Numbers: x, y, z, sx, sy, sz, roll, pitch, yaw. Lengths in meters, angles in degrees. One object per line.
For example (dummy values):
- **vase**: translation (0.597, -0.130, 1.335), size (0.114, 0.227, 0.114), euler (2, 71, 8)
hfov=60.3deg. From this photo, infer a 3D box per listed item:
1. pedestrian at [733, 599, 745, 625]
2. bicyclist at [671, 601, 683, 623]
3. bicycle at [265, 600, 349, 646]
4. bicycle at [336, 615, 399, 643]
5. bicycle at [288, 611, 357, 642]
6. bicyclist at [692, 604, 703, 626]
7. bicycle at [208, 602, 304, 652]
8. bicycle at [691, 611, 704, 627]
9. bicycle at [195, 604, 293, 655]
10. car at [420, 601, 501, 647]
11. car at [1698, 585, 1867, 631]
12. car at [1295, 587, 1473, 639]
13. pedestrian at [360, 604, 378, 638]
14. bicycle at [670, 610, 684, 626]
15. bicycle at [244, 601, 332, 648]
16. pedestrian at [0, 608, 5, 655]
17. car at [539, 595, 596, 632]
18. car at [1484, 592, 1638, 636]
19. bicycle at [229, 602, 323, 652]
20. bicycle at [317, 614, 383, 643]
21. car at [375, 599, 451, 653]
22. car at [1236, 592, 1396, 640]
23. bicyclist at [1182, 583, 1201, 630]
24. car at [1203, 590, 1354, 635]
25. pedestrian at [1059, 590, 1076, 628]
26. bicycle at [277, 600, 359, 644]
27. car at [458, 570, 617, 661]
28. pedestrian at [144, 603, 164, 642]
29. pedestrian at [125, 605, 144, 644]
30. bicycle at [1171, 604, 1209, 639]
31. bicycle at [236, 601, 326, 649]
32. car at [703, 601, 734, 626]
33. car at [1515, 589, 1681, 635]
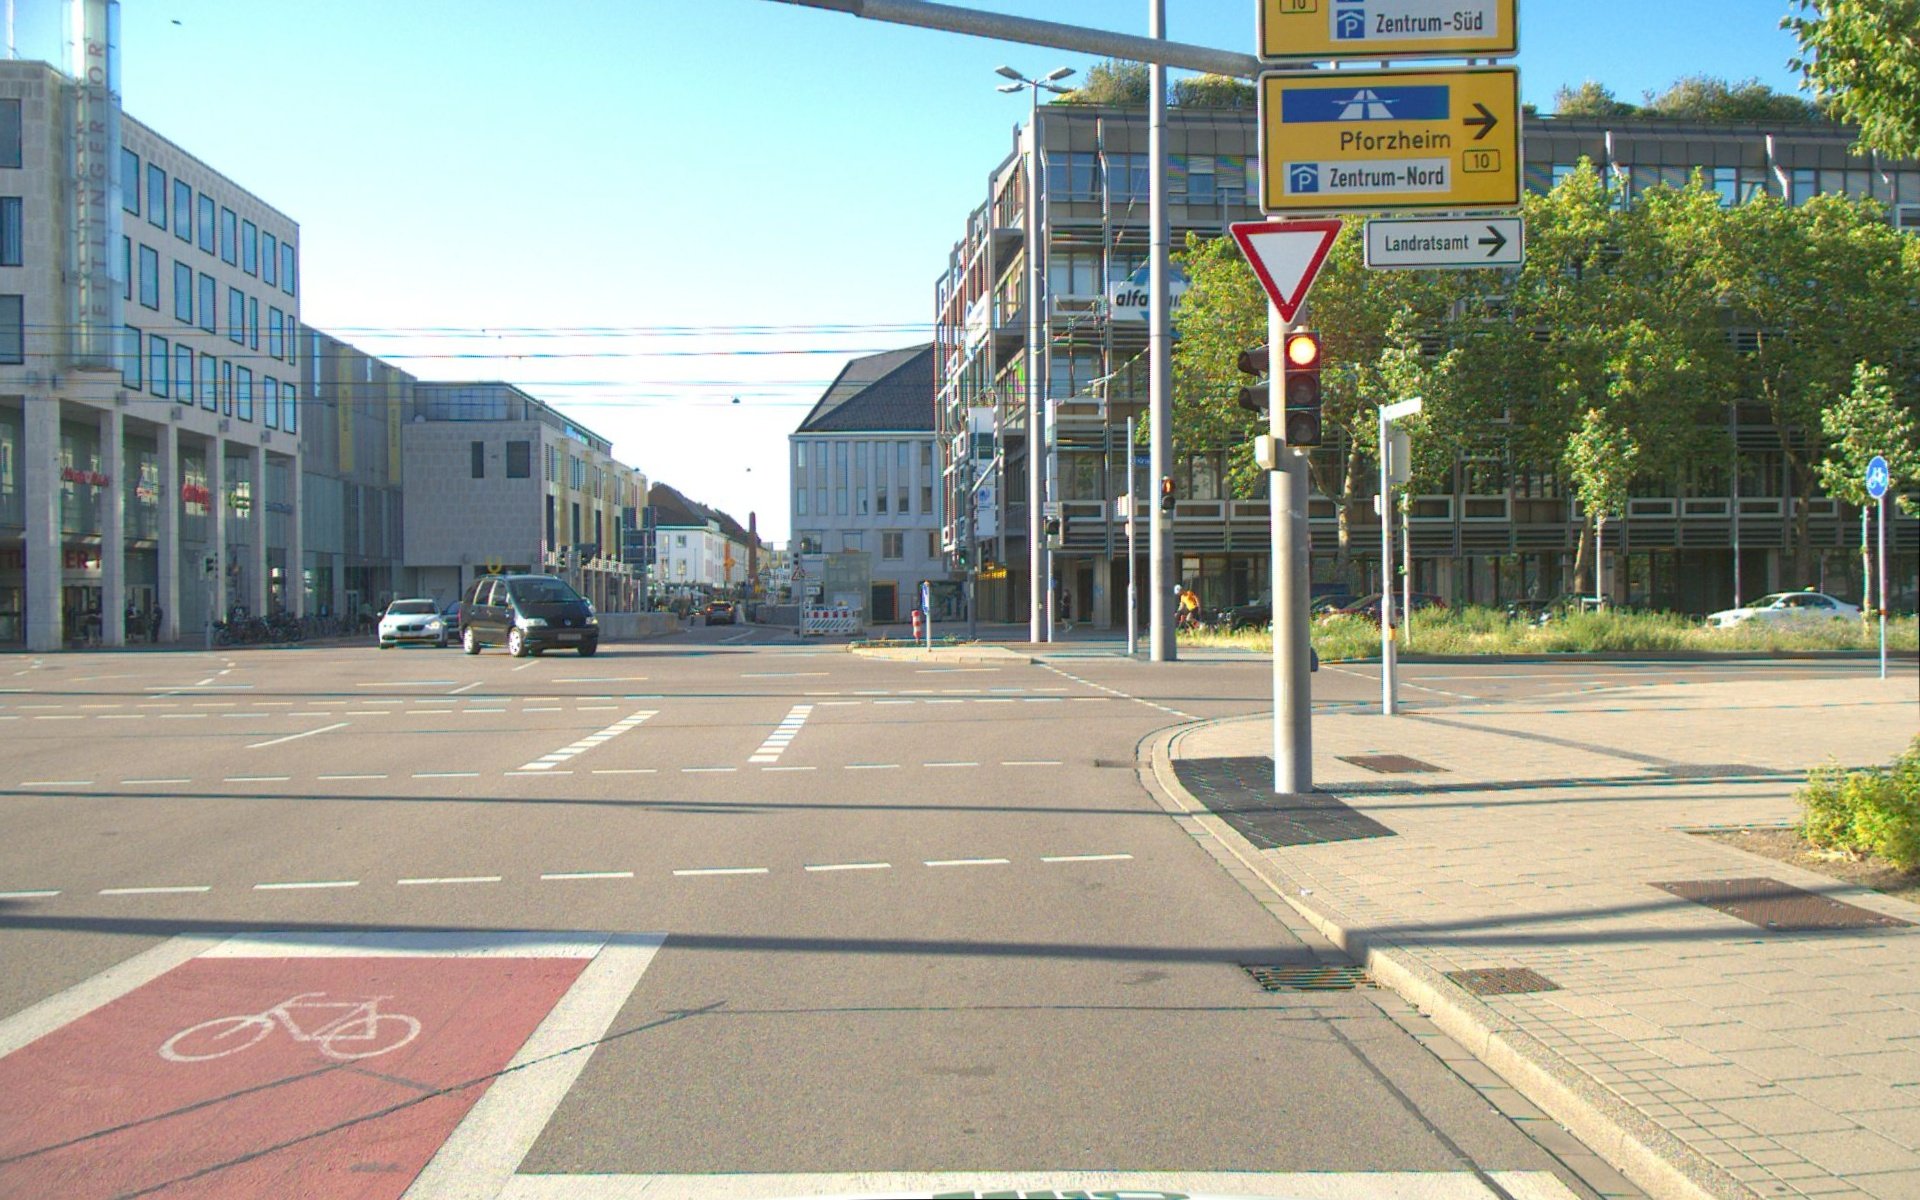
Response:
- **pedestrian**: translation (-14.561, 0.769, 108.882), size (0.700, 1.697, 0.987), euler (-1, 0, -3)
- **bicyclist**: translation (-19.736, 0.853, 115.199), size (0.731, 1.486, 0.766), euler (-1, 0, -4)
- **bicycle**: translation (-30.699, 1.081, 77.809), size (3.551, 2.049, 0.901), euler (-1, 0, -6)
- **bicycle**: translation (-31.615, 1.559, 88.324), size (2.992, 1.425, 0.901), euler (-1, 0, -6)
- **bicycle**: translation (-31.072, 1.306, 80.616), size (2.992, 1.425, 0.901), euler (-1, 0, -6)
- **bicyclist**: translation (-18.475, 1.054, 116.382), size (0.731, 1.486, 0.766), euler (-1, 0, -4)
- **bicycle**: translation (-29.869, 1.137, 70.192), size (3.551, 2.049, 1.085), euler (-1, 0, -6)
- **bicycle**: translation (-18.472, 1.353, 116.369), size (0.727, 1.064, 2.429), euler (-1, 0, -5)
- **bicycle**: translation (-29.782, 1.214, 68.856), size (3.554, 2.049, 1.084), euler (-1, 0, -10)
- **car**: translation (-18.286, 0.856, 60.673), size (1.954, 1.557, 4.033), euler (-1, 0, -4)
- **car**: translation (26.449, 0.229, 53.261), size (4.541, 1.380, 1.998), euler (-1, 2, -6)
- **car**: translation (12.062, 0.348, 47.217), size (4.541, 1.380, 1.998), euler (-1, 2, -6)
- **pedestrian**: translation (-28.753, 1.010, 80.506), size (0.734, 1.636, 0.619), euler (-1, 0, -29)
- **bicycle**: translation (-19.732, 1.259, 115.242), size (0.727, 1.064, 2.429), euler (-1, 0, -5)
- **bicycle**: translation (-30.736, 1.118, 75.717), size (3.551, 2.049, 1.085), euler (-1, 0, -6)
- **pedestrian**: translation (-33.998, 1.100, 58.000), size (0.610, 1.636, 0.653), euler (-1, 0, -3)
- **car**: translation (-18.537, 0.620, 78.298), size (1.954, 1.651, 4.234), euler (-1, 0, -5)
- **car**: translation (20.459, 0.452, 56.425), size (4.541, 1.380, 1.998), euler (-1, 2, -6)
- **bicycle**: translation (-29.630, 1.150, 71.660), size (3.551, 2.049, 1.085), euler (-1, 0, -6)
- **bicycle**: translation (-31.350, 1.471, 85.032), size (2.992, 1.425, 0.901), euler (-1, 0, -6)
- **car**: translation (-16.267, 0.741, 49.082), size (1.965, 1.380, 4.618), euler (-1, 2, -20)
- **car**: translation (11.122, 0.490, 51.811), size (4.541, 1.380, 1.998), euler (-1, 2, -6)
- **bicyclist**: translation (6.723, 0.185, 48.013), size (0.498, 1.361, 0.452), euler (-1, 0, 1)
- **car**: translation (10.517, 0.392, 54.807), size (4.541, 1.380, 1.998), euler (-1, 2, -6)
- **pedestrian**: translation (4.361, 0.352, 67.079), size (0.609, 1.545, 0.654), euler (-1, 0, 7)
- **bicycle**: translation (-30.893, 1.035, 79.645), size (3.551, 2.049, 0.901), euler (-1, 0, -6)
- **car**: translation (-9.159, 0.270, 35.632), size (1.975, 1.772, 4.593), euler (-1, 2, -33)
- **pedestrian**: translation (-34.566, 0.968, 70.930), size (0.618, 1.636, 0.645), euler (-1, 0, -37)
- **pedestrian**: translation (-35.028, 1.041, 70.204), size (0.618, 1.636, 0.645), euler (-1, 0, -37)
- **bicycle**: translation (6.676, 0.630, 48.008), size (1.054, 0.988, 0.458), euler (-1, 0, 0)
- **bicycle**: translation (-30.579, 1.107, 74.574), size (3.551, 2.049, 1.085), euler (-1, 0, -6)
- **car**: translation (-15.865, 0.886, 108.698), size (1.956, 1.579, 3.993), euler (-1, 0, -8)
- **car**: translation (20.340, 0.366, 52.813), size (4.541, 1.380, 1.998), euler (-1, 2, -6)
